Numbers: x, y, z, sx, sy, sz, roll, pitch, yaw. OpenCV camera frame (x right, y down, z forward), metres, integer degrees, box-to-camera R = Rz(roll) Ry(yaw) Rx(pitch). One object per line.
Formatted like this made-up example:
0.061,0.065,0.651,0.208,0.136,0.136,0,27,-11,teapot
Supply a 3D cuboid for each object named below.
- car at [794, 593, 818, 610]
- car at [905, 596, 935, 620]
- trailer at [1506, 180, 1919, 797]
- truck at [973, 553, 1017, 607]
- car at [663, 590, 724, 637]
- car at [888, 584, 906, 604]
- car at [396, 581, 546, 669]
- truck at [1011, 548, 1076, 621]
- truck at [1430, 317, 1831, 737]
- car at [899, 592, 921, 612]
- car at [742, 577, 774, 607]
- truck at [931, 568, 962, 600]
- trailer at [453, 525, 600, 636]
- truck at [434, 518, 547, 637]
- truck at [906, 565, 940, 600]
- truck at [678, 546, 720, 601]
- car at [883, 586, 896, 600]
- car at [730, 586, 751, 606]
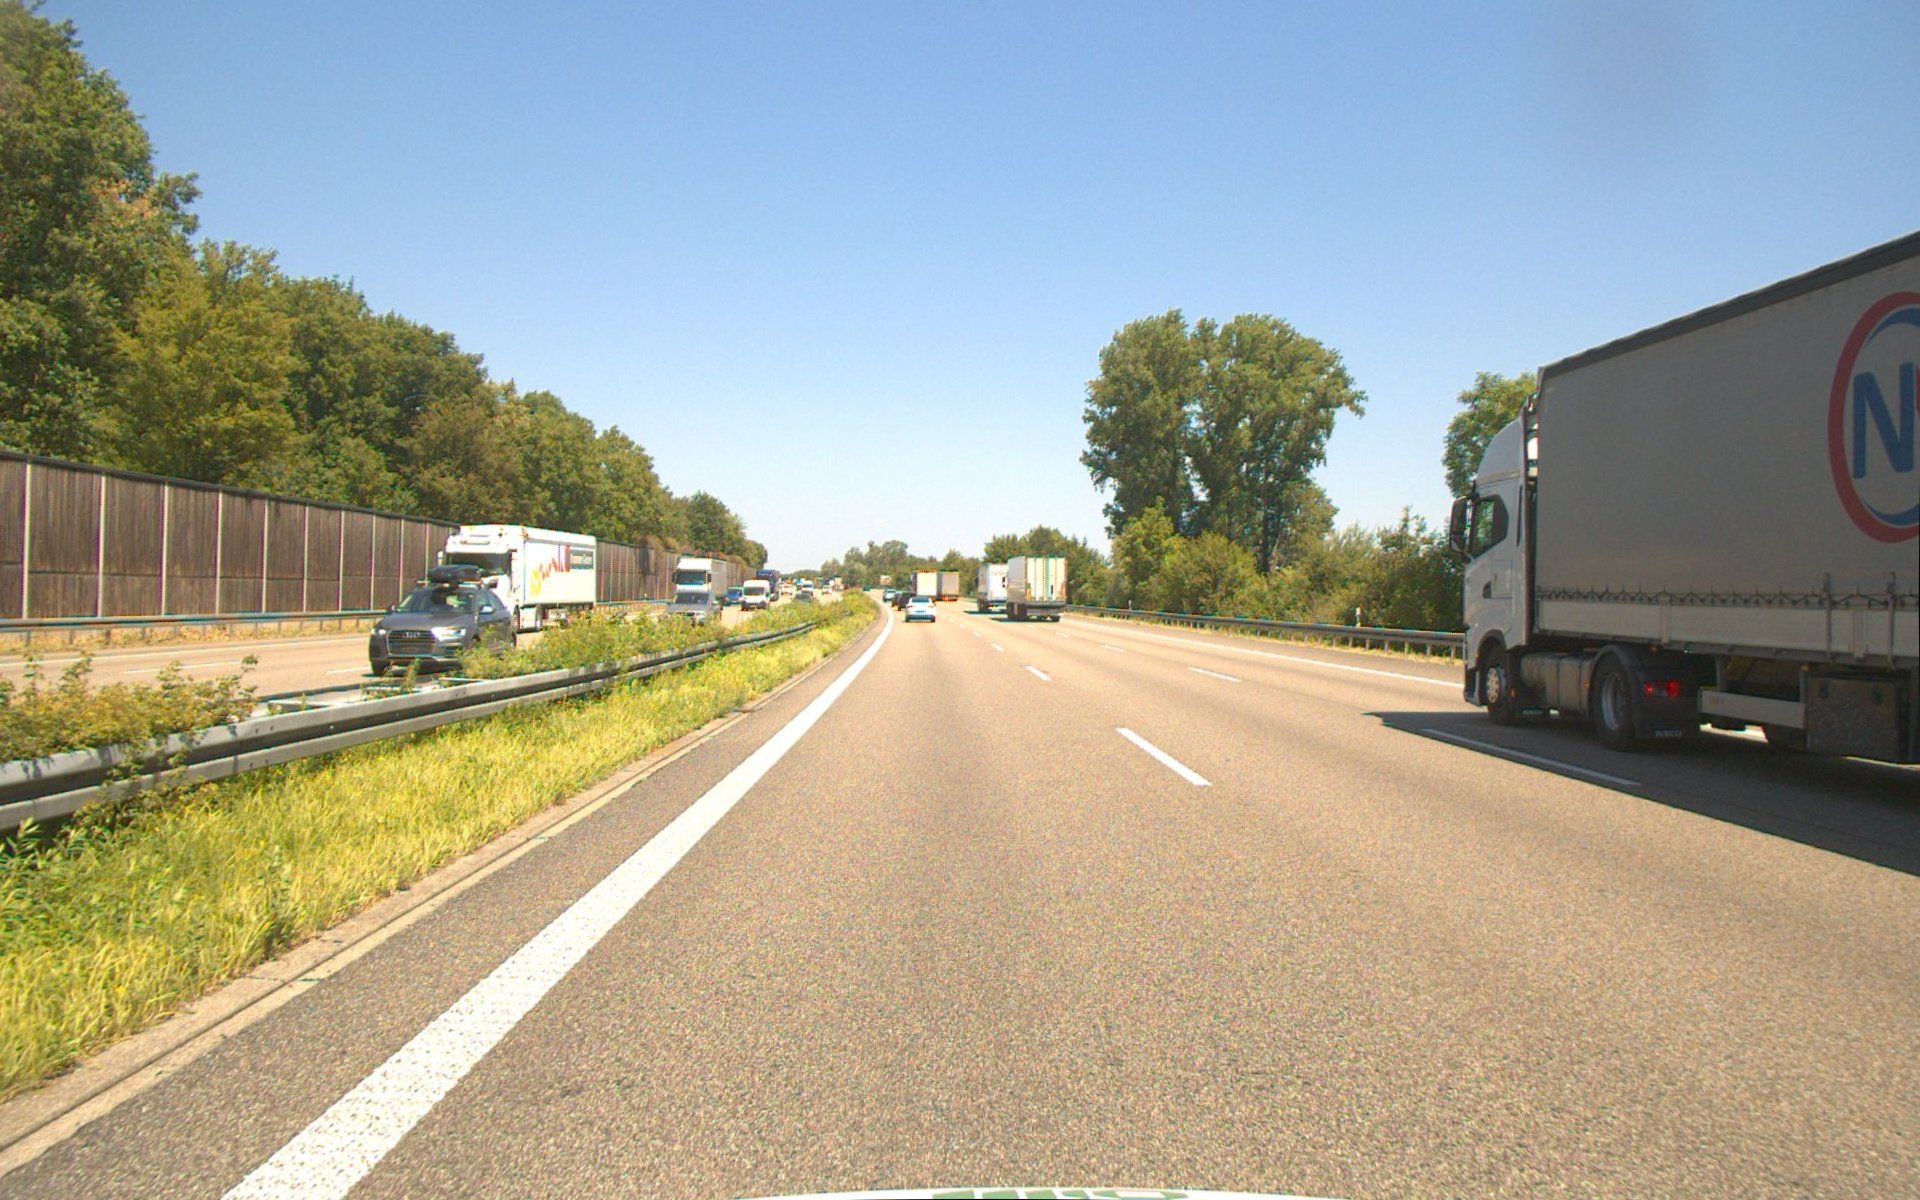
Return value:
-13.066,0.101,140.503,1.724,1.453,3.934,0,0,-2,car
-2.359,0.457,98.861,1.680,1.393,3.375,0,0,0,car
7.994,-0.772,12.744,2.571,4.335,14.056,1,0,-1,trailer
2.915,-1.601,140.105,3.291,4.386,10.826,1,0,-1,truck
-9.935,0.472,61.879,1.730,1.680,4.037,0,0,-1,car
-6.746,-0.642,177.583,1.953,2.049,3.999,0,0,-2,car
-9.261,0.439,31.662,1.678,1.570,4.360,0,0,-2,car
5.238,-0.949,105.685,3.421,4.386,10.986,1,0,-1,truck
7.791,-0.751,20.013,2.553,4.362,5.434,1,0,-1,truck
-4.522,0.149,150.250,1.953,1.803,3.999,0,0,-1,car
-16.739,-0.651,137.158,2.038,2.443,6.041,0,0,-1,car
-1.995,-2.291,239.026,3.755,4.386,11.543,1,0,-4,truck
-17.873,-0.731,69.394,2.698,4.146,14.384,1,0,-2,trailer
-17.687,-0.802,62.693,2.675,4.266,6.034,1,0,-2,truck
-4.967,-2.248,218.235,3.511,4.386,12.175,1,0,-6,truck
-20.204,-1.993,128.118,2.452,4.126,6.359,0,0,-2,truck
-9.437,-0.982,221.914,1.689,1.814,3.999,0,0,-2,car
-22.326,-0.396,168.046,1.765,2.049,3.998,0,0,-3,car
